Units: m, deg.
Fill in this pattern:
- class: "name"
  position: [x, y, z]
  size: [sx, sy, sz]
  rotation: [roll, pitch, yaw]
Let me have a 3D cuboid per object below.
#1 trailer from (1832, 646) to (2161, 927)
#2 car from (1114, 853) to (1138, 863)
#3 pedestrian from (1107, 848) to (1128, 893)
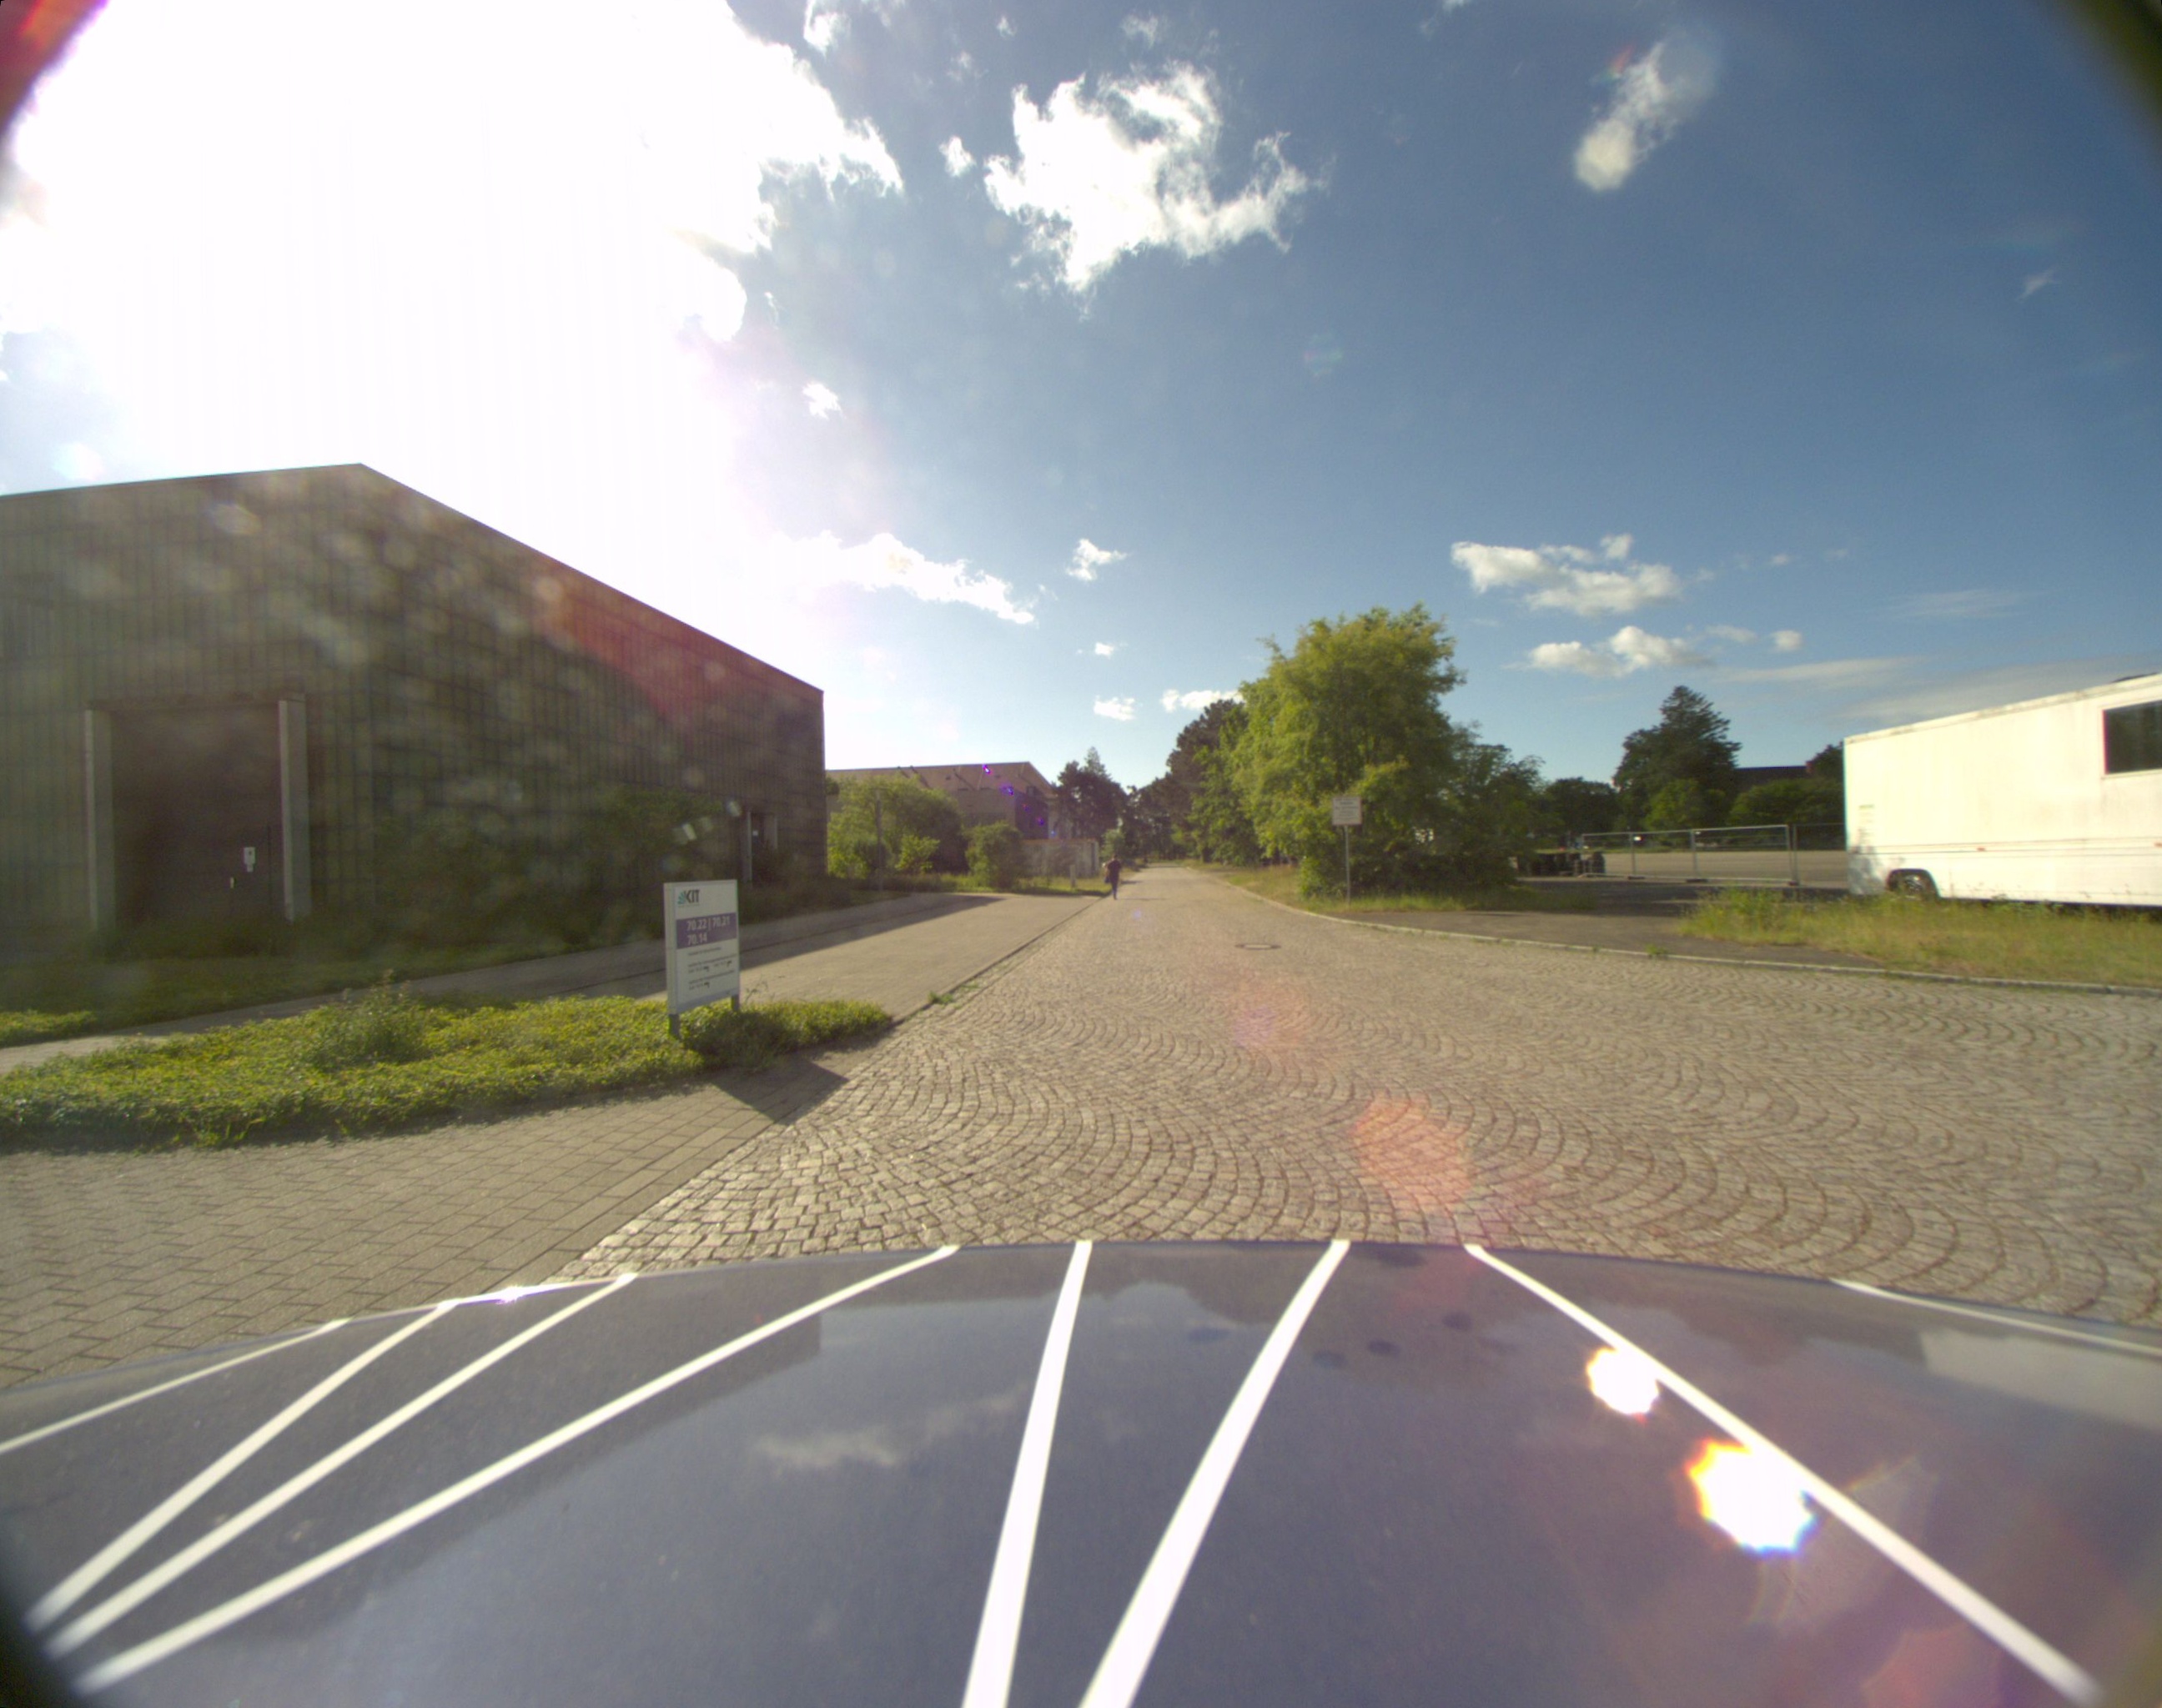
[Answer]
- class: "trailer"
  position: [16.368, -0.961, 10.352]
  size: [2.777, 3.888, 10.892]
  rotation: [-1, 0, 8]
- class: "car"
  position: [5.870, 0.543, 99.336]
  size: [2.910, 1.252, 1.287]
  rotation: [-2, 1, -3]
- class: "pedestrian"
  position: [1.466, 0.659, 30.276]
  size: [0.796, 1.770, 1.069]
  rotation: [0, 1, 5]
